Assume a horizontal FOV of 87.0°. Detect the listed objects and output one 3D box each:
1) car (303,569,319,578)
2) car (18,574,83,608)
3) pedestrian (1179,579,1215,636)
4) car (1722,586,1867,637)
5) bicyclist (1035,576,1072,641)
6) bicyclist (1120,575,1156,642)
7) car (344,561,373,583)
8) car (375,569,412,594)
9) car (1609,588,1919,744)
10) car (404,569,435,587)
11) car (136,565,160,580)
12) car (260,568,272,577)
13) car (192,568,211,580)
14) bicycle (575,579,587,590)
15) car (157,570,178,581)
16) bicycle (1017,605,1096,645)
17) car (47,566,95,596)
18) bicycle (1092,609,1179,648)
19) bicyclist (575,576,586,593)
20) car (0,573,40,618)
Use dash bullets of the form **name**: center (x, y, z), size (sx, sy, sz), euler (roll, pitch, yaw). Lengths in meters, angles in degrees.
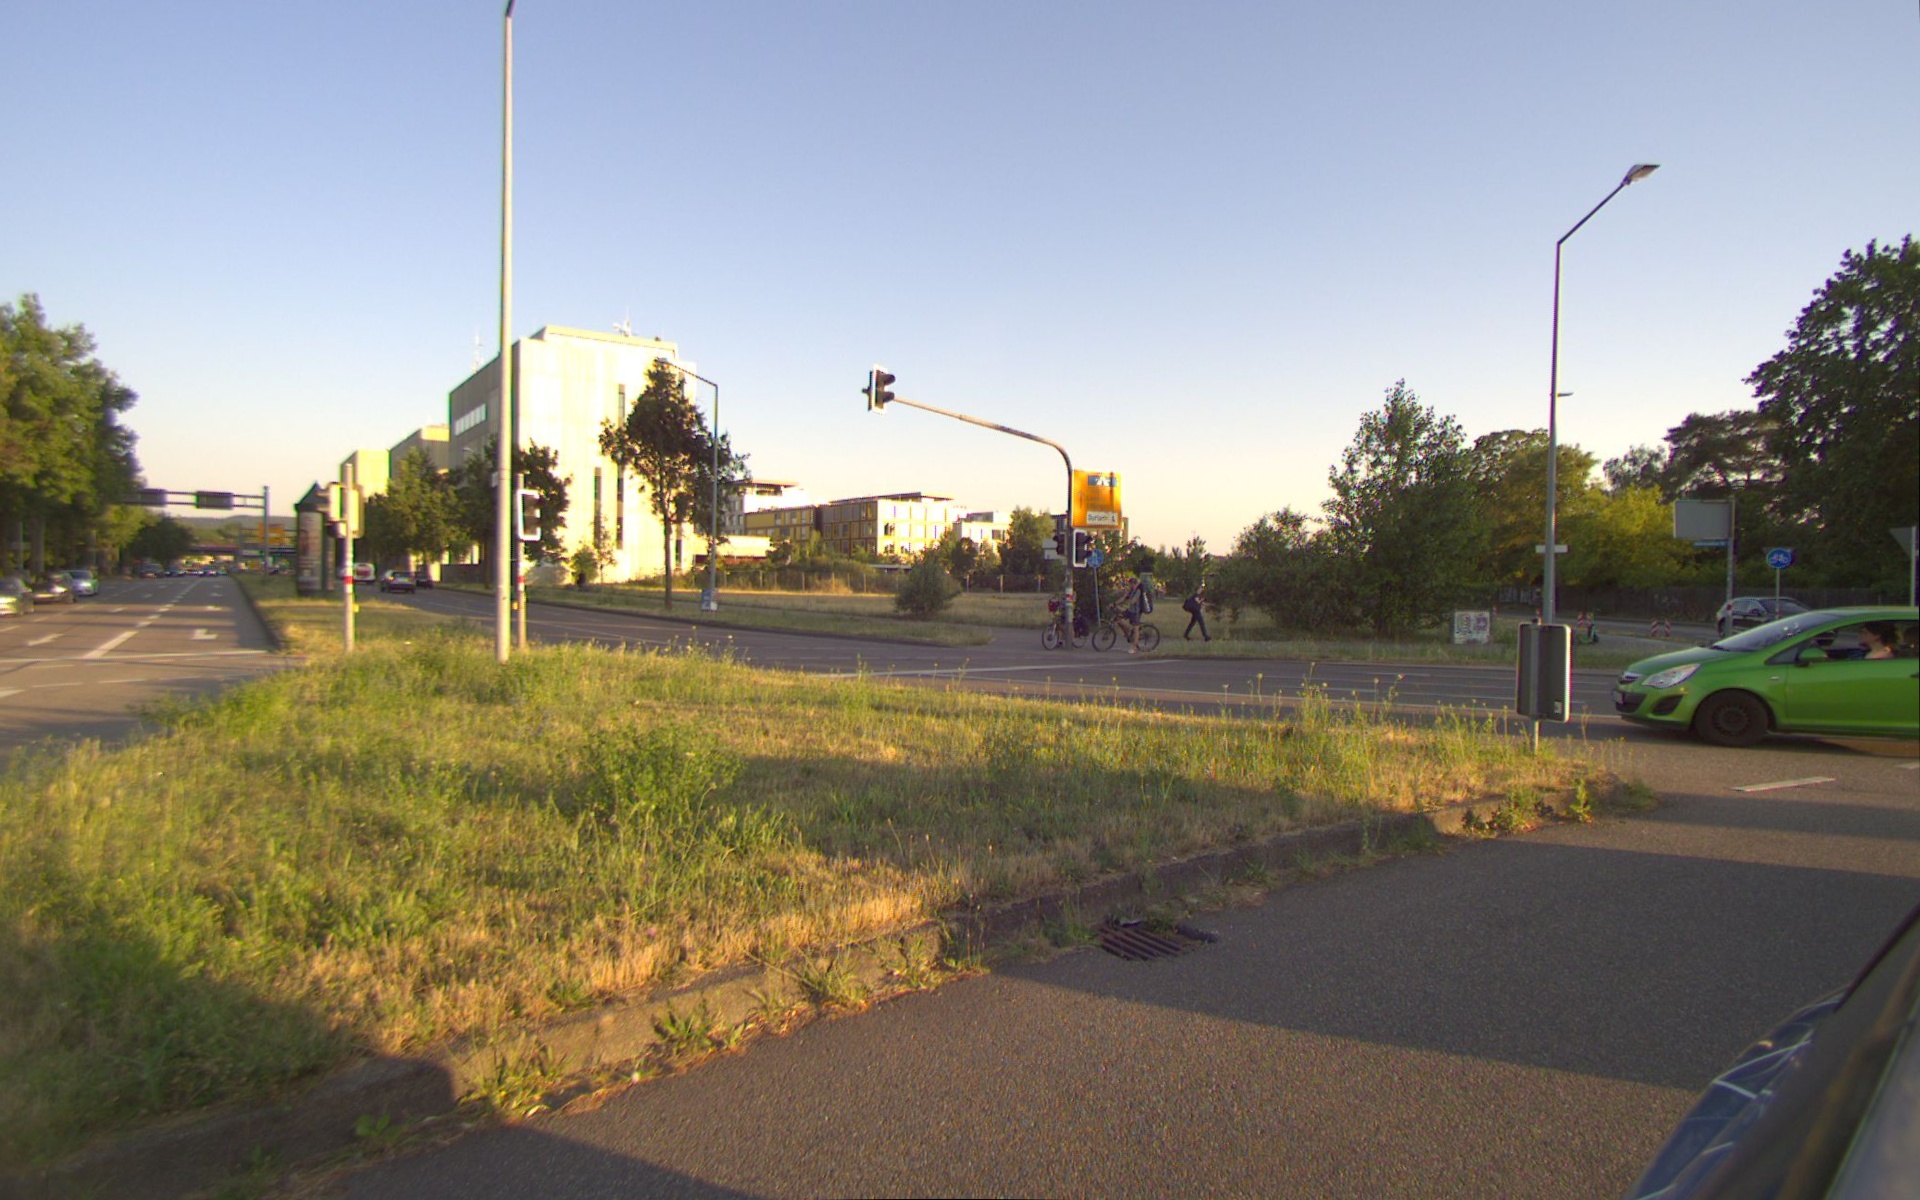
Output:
- **car**: center (-112.841, -4.657, 176.006), size (1.964, 1.593, 3.997), euler (0, 1, -38)
- **car**: center (-41.873, -0.459, 46.676), size (1.833, 1.472, 4.161), euler (0, 1, -37)
- **pedestrian**: center (6.993, 0.208, 29.853), size (0.978, 1.610, 0.922), euler (1, 1, 16)
- **car**: center (29.024, 0.344, 35.398), size (1.967, 1.617, 4.304), euler (1, 1, 9)
- **bicyclist**: center (2.526, 0.212, 27.326), size (0.675, 1.711, 0.726), euler (0, 1, -29)
- **bicyclist**: center (4.611, 0.214, 26.261), size (0.674, 1.711, 0.727), euler (1, 1, -13)
- **car**: center (-55.459, -2.553, 93.274), size (2.029, 1.971, 4.962), euler (0, 1, -34)
- **car**: center (-38.957, -1.273, 69.593), size (1.961, 1.649, 4.002), euler (0, 1, -33)
- **car**: center (9.263, 0.634, 10.510), size (3.953, 1.438, 1.677), euler (1, 1, 22)
- **car**: center (-44.564, -1.822, 83.415), size (1.961, 1.445, 4.201), euler (0, 1, -33)
- **car**: center (-86.927, -2.945, 108.342), size (1.880, 1.603, 4.179), euler (0, 1, -37)
- **car**: center (-145.368, -5.764, 212.052), size (1.962, 1.805, 4.001), euler (0, 1, -35)
- **car**: center (-101.901, -3.480, 136.041), size (1.963, 1.524, 4.771), euler (0, 1, -36)
- **bicycle**: center (-28.588, -1.171, 76.290), size (0.487, 0.837, 1.515), euler (0, 1, -35)
- **car**: center (-104.737, -3.223, 133.694), size (1.965, 1.524, 4.614), euler (-1, 1, -40)
- **bicycle**: center (2.611, 0.664, 27.344), size (2.065, 0.975, 0.711), euler (-2, 2, -27)
- **car**: center (-48.606, -1.035, 55.337), size (1.837, 1.471, 3.964), euler (-4, 3, -42)
- **bicycle**: center (4.539, 0.736, 26.240), size (2.100, 0.975, 0.711), euler (1, 1, -15)
- **bicyclist**: center (-28.600, -1.143, 76.255), size (0.606, 1.272, 0.735), euler (0, 1, -34)
- **car**: center (-34.270, -0.202, 36.003), size (1.833, 1.407, 4.162), euler (3, 0, -37)
